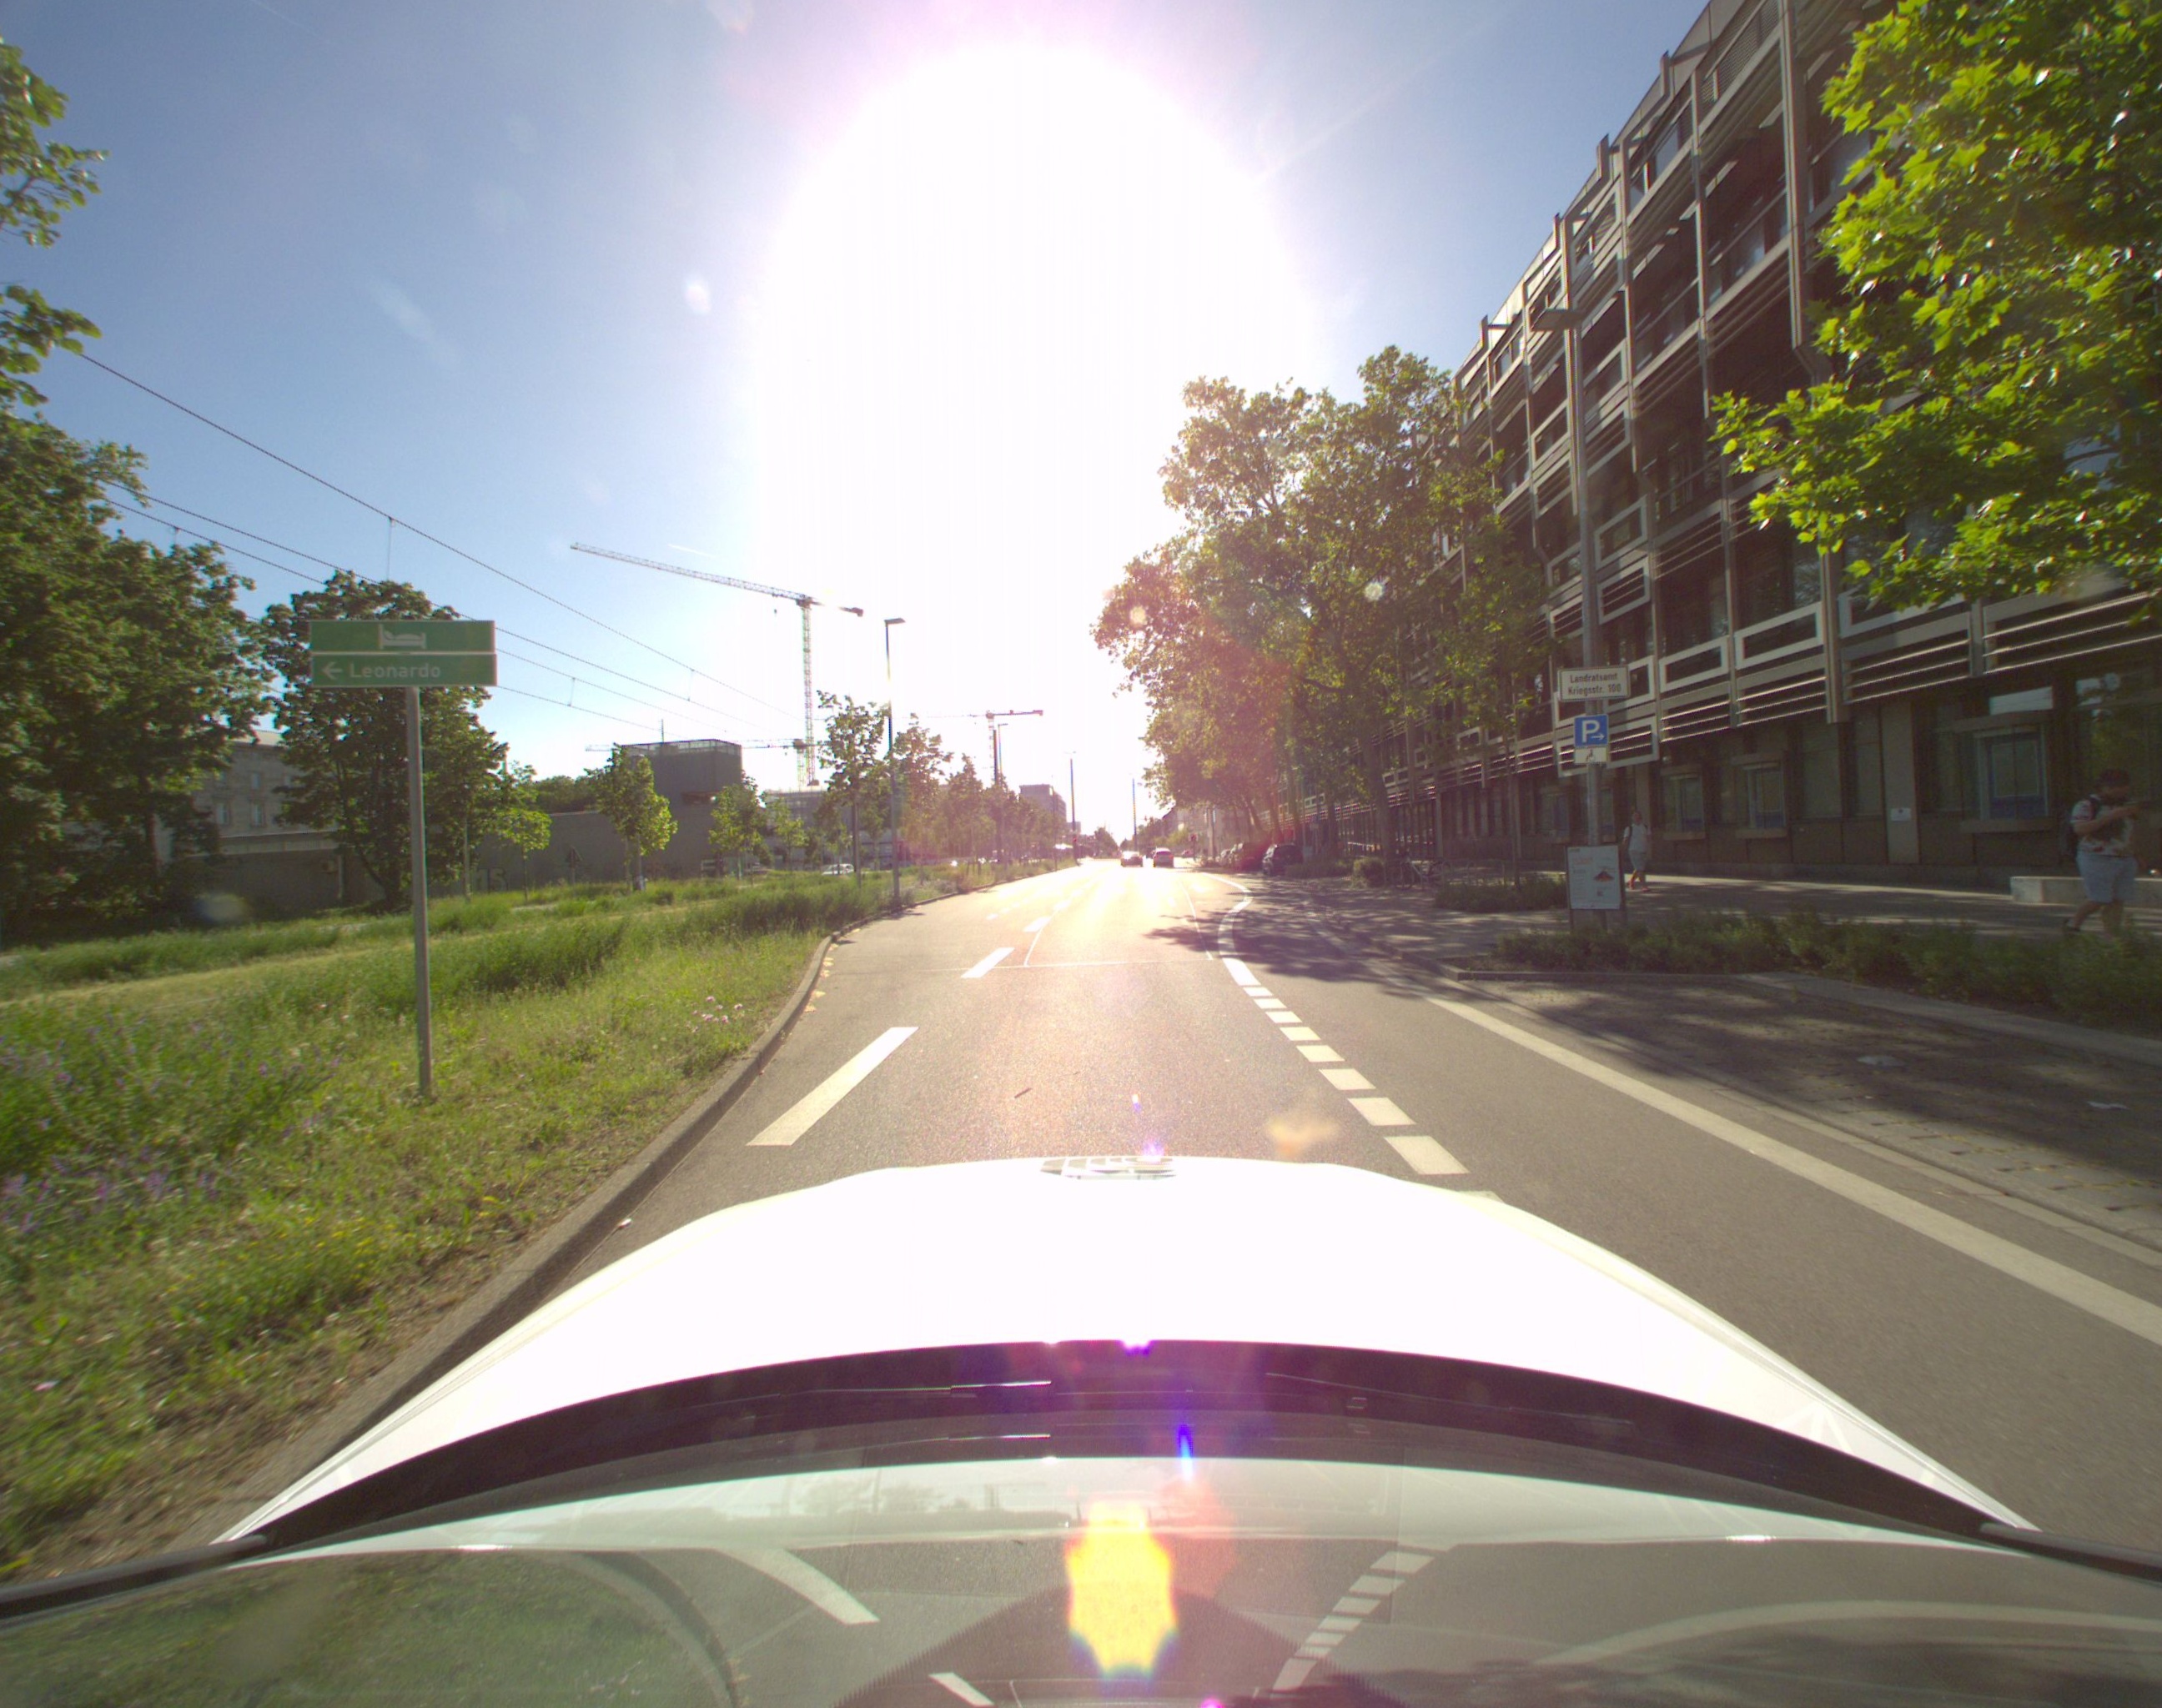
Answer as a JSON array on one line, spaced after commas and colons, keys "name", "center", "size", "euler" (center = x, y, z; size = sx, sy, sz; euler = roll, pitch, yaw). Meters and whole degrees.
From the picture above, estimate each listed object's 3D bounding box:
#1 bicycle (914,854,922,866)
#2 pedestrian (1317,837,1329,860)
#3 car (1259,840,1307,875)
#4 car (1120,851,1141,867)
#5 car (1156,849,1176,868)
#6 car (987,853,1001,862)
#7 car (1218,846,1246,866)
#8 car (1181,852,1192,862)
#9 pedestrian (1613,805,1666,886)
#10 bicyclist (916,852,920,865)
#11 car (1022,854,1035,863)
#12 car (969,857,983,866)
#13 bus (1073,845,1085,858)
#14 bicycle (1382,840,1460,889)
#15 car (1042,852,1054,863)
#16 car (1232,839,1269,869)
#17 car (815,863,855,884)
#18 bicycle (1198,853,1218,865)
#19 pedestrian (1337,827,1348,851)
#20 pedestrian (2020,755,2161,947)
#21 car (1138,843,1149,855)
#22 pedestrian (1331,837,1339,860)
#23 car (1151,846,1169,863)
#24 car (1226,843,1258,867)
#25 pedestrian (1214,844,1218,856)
[{"name": "bicycle", "center": [-19.632, 0.716, 98.113], "size": [0.358, 1.455, 1.916], "euler": [-2, 0, 4]}, {"name": "pedestrian", "center": [16.684, -0.376, 56.152], "size": [0.504, 1.584, 0.634], "euler": [-2, 0, -5]}, {"name": "car", "center": [10.299, 0.144, 41.860], "size": [1.695, 1.643, 4.644], "euler": [-2, 0, 6]}, {"name": "car", "center": [4.750, 0.455, 78.721], "size": [1.904, 1.486, 4.013], "euler": [-2, 0, 3]}, {"name": "car", "center": [7.696, 0.397, 74.003], "size": [1.713, 1.618, 4.193], "euler": [-2, 0, 6]}, {"name": "car", "center": [-11.923, 0.513, 111.267], "size": [1.370, 1.178, 3.223], "euler": [0, -1, 3]}, {"name": "car", "center": [12.112, 0.133, 65.704], "size": [1.696, 1.492, 4.606], "euler": [-2, 0, 4]}, {"name": "car", "center": [18.596, 0.554, 143.388], "size": [1.655, 1.649, 3.703], "euler": [0, -1, 2]}, {"name": "pedestrian", "center": [12.129, -0.180, 17.706], "size": [0.509, 1.700, 0.774], "euler": [-4, 0, 3]}, {"name": "bicyclist", "center": [-19.620, 0.546, 98.120], "size": [0.392, 1.454, 0.540], "euler": [0, 0, 3]}, {"name": "car", "center": [-7.113, 0.643, 110.582], "size": [1.370, 1.178, 3.223], "euler": [0, -1, 3]}, {"name": "car", "center": [-19.719, 1.475, 152.736], "size": [1.829, 1.612, 3.899], "euler": [0, -1, 3]}, {"name": "bus", "center": [-0.454, -0.557, 187.574], "size": [2.618, 2.959, 9.901], "euler": [0, -1, 1]}, {"name": "bicycle", "center": [9.826, 0.293, 23.574], "size": [1.930, 1.236, 0.579], "euler": [-5, 0, 0]}, {"name": "car", "center": [-5.657, 0.627, 139.428], "size": [1.890, 1.816, 4.000], "euler": [0, -1, 1]}, {"name": "car", "center": [11.060, -0.008, 53.460], "size": [1.696, 1.790, 4.197], "euler": [-4, 0, 4]}, {"name": "car", "center": [-18.101, 1.436, 60.132], "size": [1.626, 1.398, 3.835], "euler": [-2, 0, 2]}, {"name": "bicycle", "center": [11.589, 0.443, 74.397], "size": [1.688, 0.957, 0.478], "euler": [-4, 0, -1]}, {"name": "pedestrian", "center": [18.002, -1.032, 56.134], "size": [0.551, 1.603, 0.574], "euler": [-2, 0, 4]}, {"name": "pedestrian", "center": [9.811, -0.032, 7.809], "size": [0.645, 1.728, 0.804], "euler": [-2, 0, 3]}, {"name": "car", "center": [11.278, -0.903, 147.053], "size": [1.984, 2.014, 4.004], "euler": [0, -1, 4]}, {"name": "pedestrian", "center": [17.485, -0.366, 56.135], "size": [0.314, 1.584, 0.501], "euler": [-2, 0, -5]}, {"name": "car", "center": [8.584, 0.058, 88.653], "size": [1.715, 1.782, 4.189], "euler": [-2, 0, 2]}, {"name": "car", "center": [11.608, 0.068, 58.849], "size": [1.696, 1.563, 4.197], "euler": [-2, 0, 4]}, {"name": "pedestrian", "center": [16.921, -0.476, 102.124], "size": [0.558, 1.440, 0.633], "euler": [-1, -1, 11]}]
